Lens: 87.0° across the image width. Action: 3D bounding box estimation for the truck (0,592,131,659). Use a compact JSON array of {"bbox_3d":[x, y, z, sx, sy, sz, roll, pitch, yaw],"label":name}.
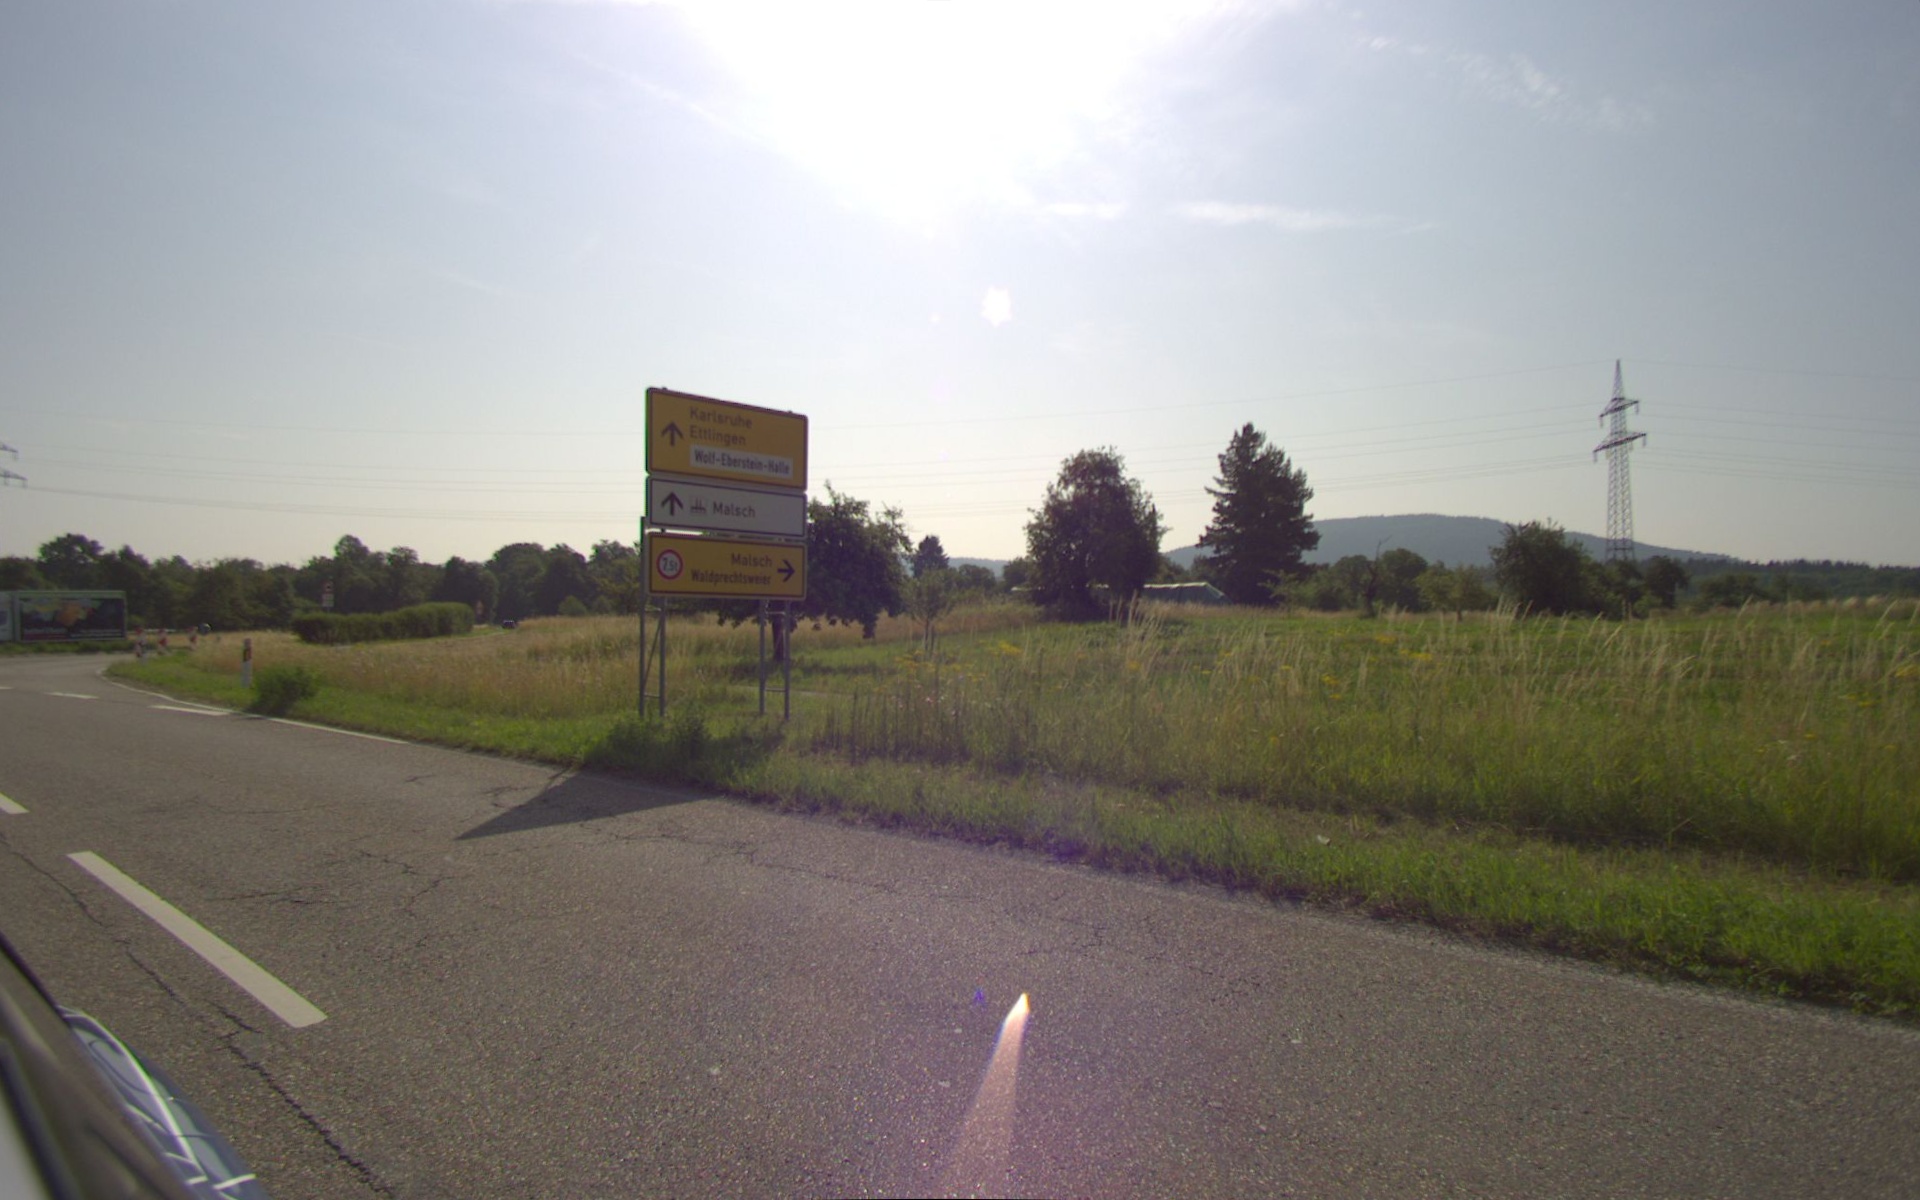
[{"bbox_3d":[-44.239,1.201,47.964,2.568,3.068,7.306,-2,-1,23],"label":"truck"}]
